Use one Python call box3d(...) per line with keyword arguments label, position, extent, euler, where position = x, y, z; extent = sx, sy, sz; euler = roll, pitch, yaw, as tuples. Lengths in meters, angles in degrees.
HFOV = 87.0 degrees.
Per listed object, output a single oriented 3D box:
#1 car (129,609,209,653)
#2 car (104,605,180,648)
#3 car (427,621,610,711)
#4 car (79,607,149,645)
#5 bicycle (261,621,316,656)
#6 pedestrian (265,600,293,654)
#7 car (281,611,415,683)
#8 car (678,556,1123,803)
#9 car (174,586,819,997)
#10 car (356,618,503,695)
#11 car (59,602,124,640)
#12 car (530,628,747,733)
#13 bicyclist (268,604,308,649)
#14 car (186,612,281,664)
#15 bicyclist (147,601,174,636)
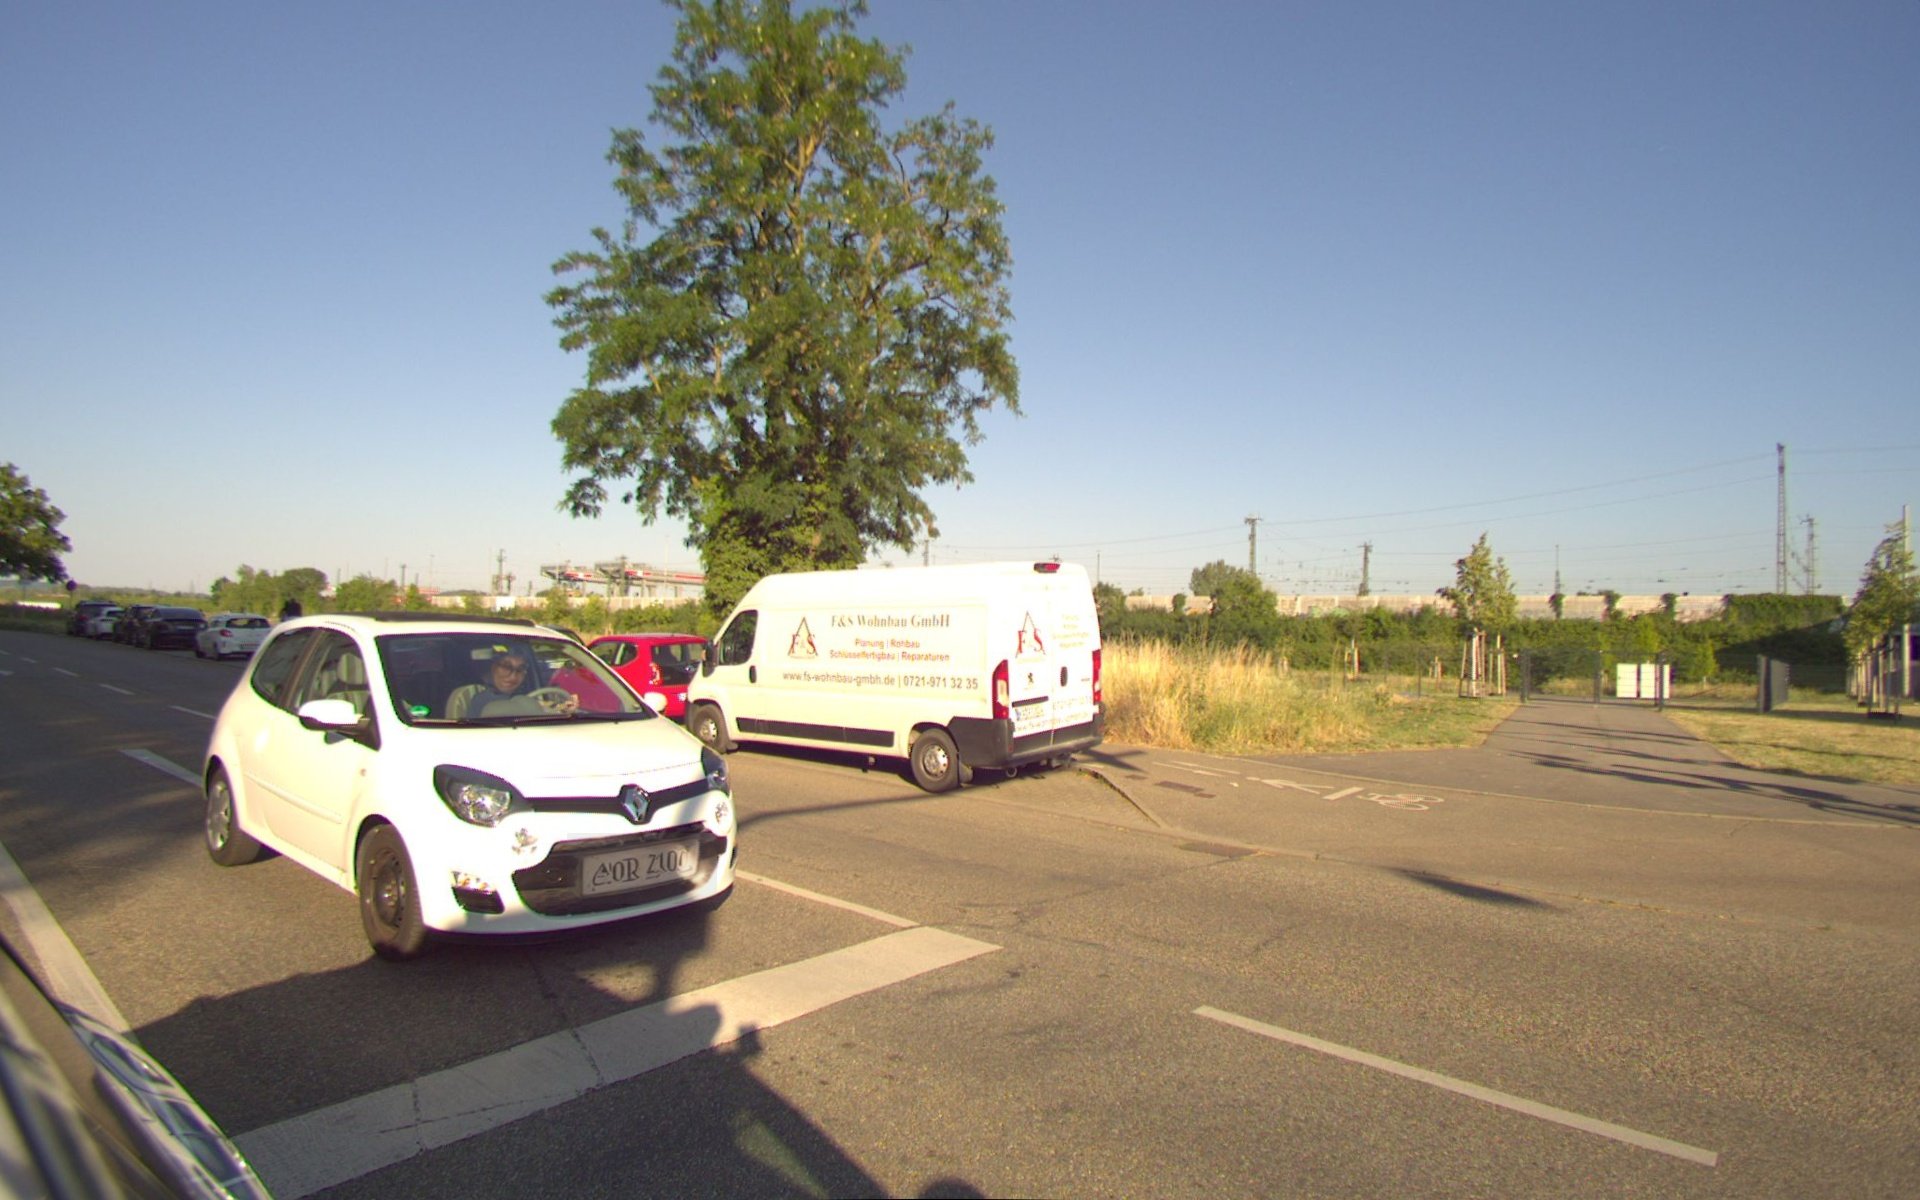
box3d(label="car", position=(-30.256, 1.178, 38.667), extent=(4.292, 1.537, 1.798), euler=(0, -3, 45))
box3d(label="car", position=(-34.427, 1.097, 42.564), extent=(4.219, 1.650, 1.800), euler=(0, -3, 42))
box3d(label="car", position=(-8.715, 1.246, 19.878), extent=(3.814, 1.541, 1.723), euler=(0, -3, 40))
box3d(label="car", position=(-38.534, 1.164, 46.053), extent=(4.219, 1.586, 1.800), euler=(0, -3, 42))
box3d(label="bicycle", position=(-24.578, 1.401, 37.019), extent=(2.479, 1.197, 0.928), euler=(0, -3, 39))
box3d(label="pedestrian", position=(-25.904, 1.019, 38.508), extent=(0.729, 2.029, 0.608), euler=(0, -3, 39))
box3d(label="car", position=(-15.545, 1.156, 25.636), extent=(4.003, 1.672, 1.643), euler=(0, -3, 40))
box3d(label="car", position=(-0.944, 0.790, 12.681), extent=(5.555, 2.455, 2.207), euler=(0, 0, 39))
box3d(label="car", position=(-2.700, 0.734, 5.528), extent=(3.772, 1.480, 1.683), euler=(0, -3, 40))
box3d(label="car", position=(-11.947, 1.239, 22.739), extent=(3.576, 1.541, 1.643), euler=(0, -3, 40))
box3d(label="car", position=(-42.926, 1.027, 49.974), extent=(4.219, 1.789, 1.866), euler=(0, -3, 42))
box3d(label="car", position=(-5.449, 1.285, 16.975), extent=(3.691, 1.498, 1.723), euler=(0, -3, 40))
box3d(label="bicyclist", position=(-24.588, 0.978, 37.028), extent=(1.145, 1.609, 0.855), euler=(0, -3, 39))
box3d(label="car", position=(-23.548, 1.216, 32.769), extent=(3.581, 1.537, 1.684), euler=(0, -3, 41))
box3d(label="bicyclist", position=(-38.574, 0.887, 48.821), extent=(1.146, 1.609, 0.758), euler=(0, -3, 42))
